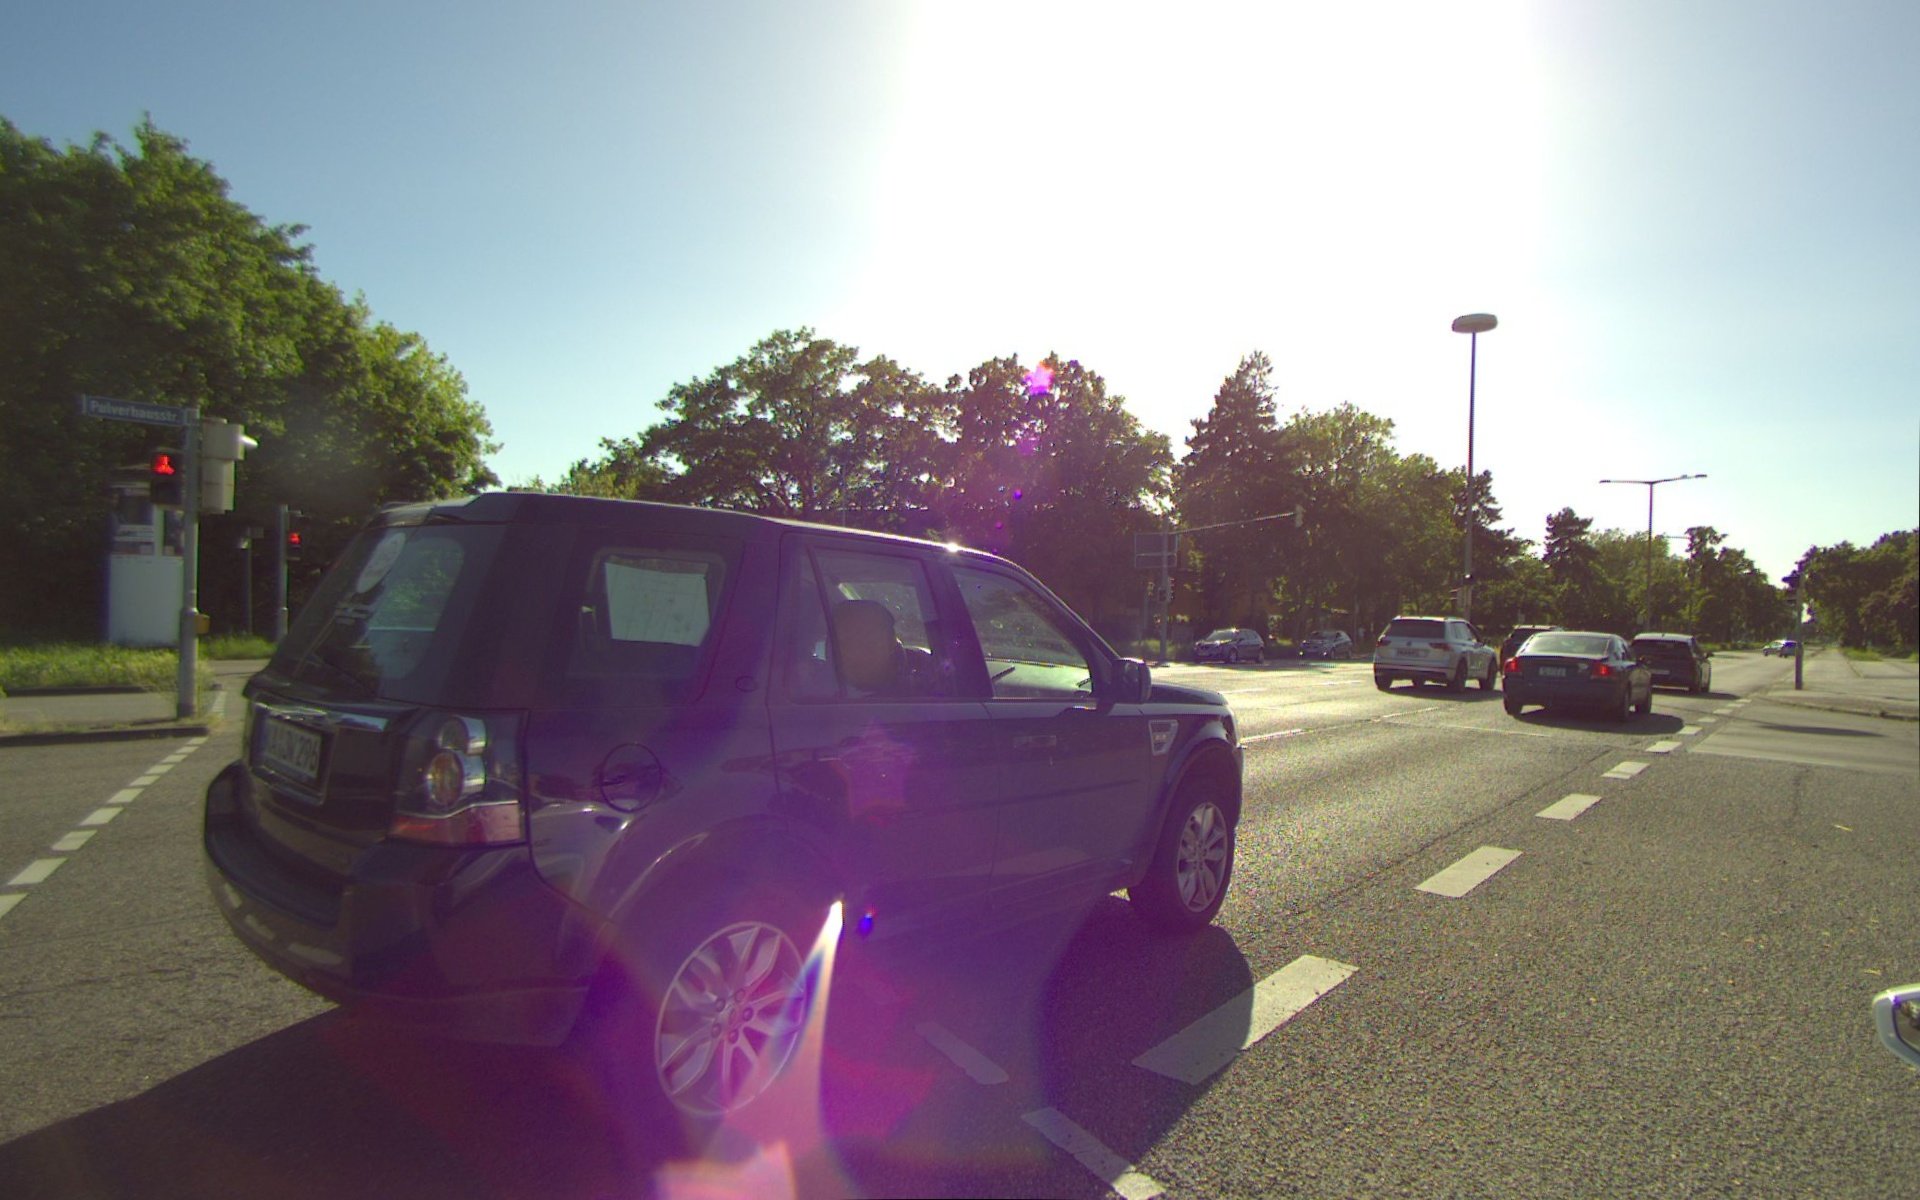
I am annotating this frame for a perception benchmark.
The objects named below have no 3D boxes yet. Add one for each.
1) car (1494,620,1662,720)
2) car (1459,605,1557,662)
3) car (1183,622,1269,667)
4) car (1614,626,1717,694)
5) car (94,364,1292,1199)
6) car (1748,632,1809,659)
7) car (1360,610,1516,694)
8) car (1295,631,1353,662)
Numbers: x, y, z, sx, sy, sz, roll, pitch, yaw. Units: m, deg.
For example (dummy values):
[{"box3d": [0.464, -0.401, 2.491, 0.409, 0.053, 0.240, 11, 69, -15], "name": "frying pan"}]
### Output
[{"box3d": [10.880, 1.161, 17.542, 1.815, 1.413, 4.344, 4, 0, 40], "name": "car"}, {"box3d": [18.172, 1.121, 33.244, 1.888, 1.674, 4.343, 4, 0, 41], "name": "car"}, {"box3d": [11.103, 1.836, 41.801, 1.782, 1.674, 4.084, 4, 0, 41], "name": "car"}, {"box3d": [19.287, 1.598, 27.371, 1.815, 1.609, 4.343, 2, -1, 41], "name": "car"}, {"box3d": [-0.470, 0.487, 4.057, 1.801, 1.706, 4.369, 2, -1, 42], "name": "car"}, {"box3d": [71.249, 3.919, 87.498, 1.960, 2.040, 4.000, 3, 0, 1], "name": "car"}, {"box3d": [11.196, 1.188, 23.381, 1.923, 1.674, 4.338, 4, 0, 44], "name": "car"}, {"box3d": [18.434, 2.341, 50.795, 1.531, 1.451, 3.579, 1, -1, 42], "name": "car"}]
